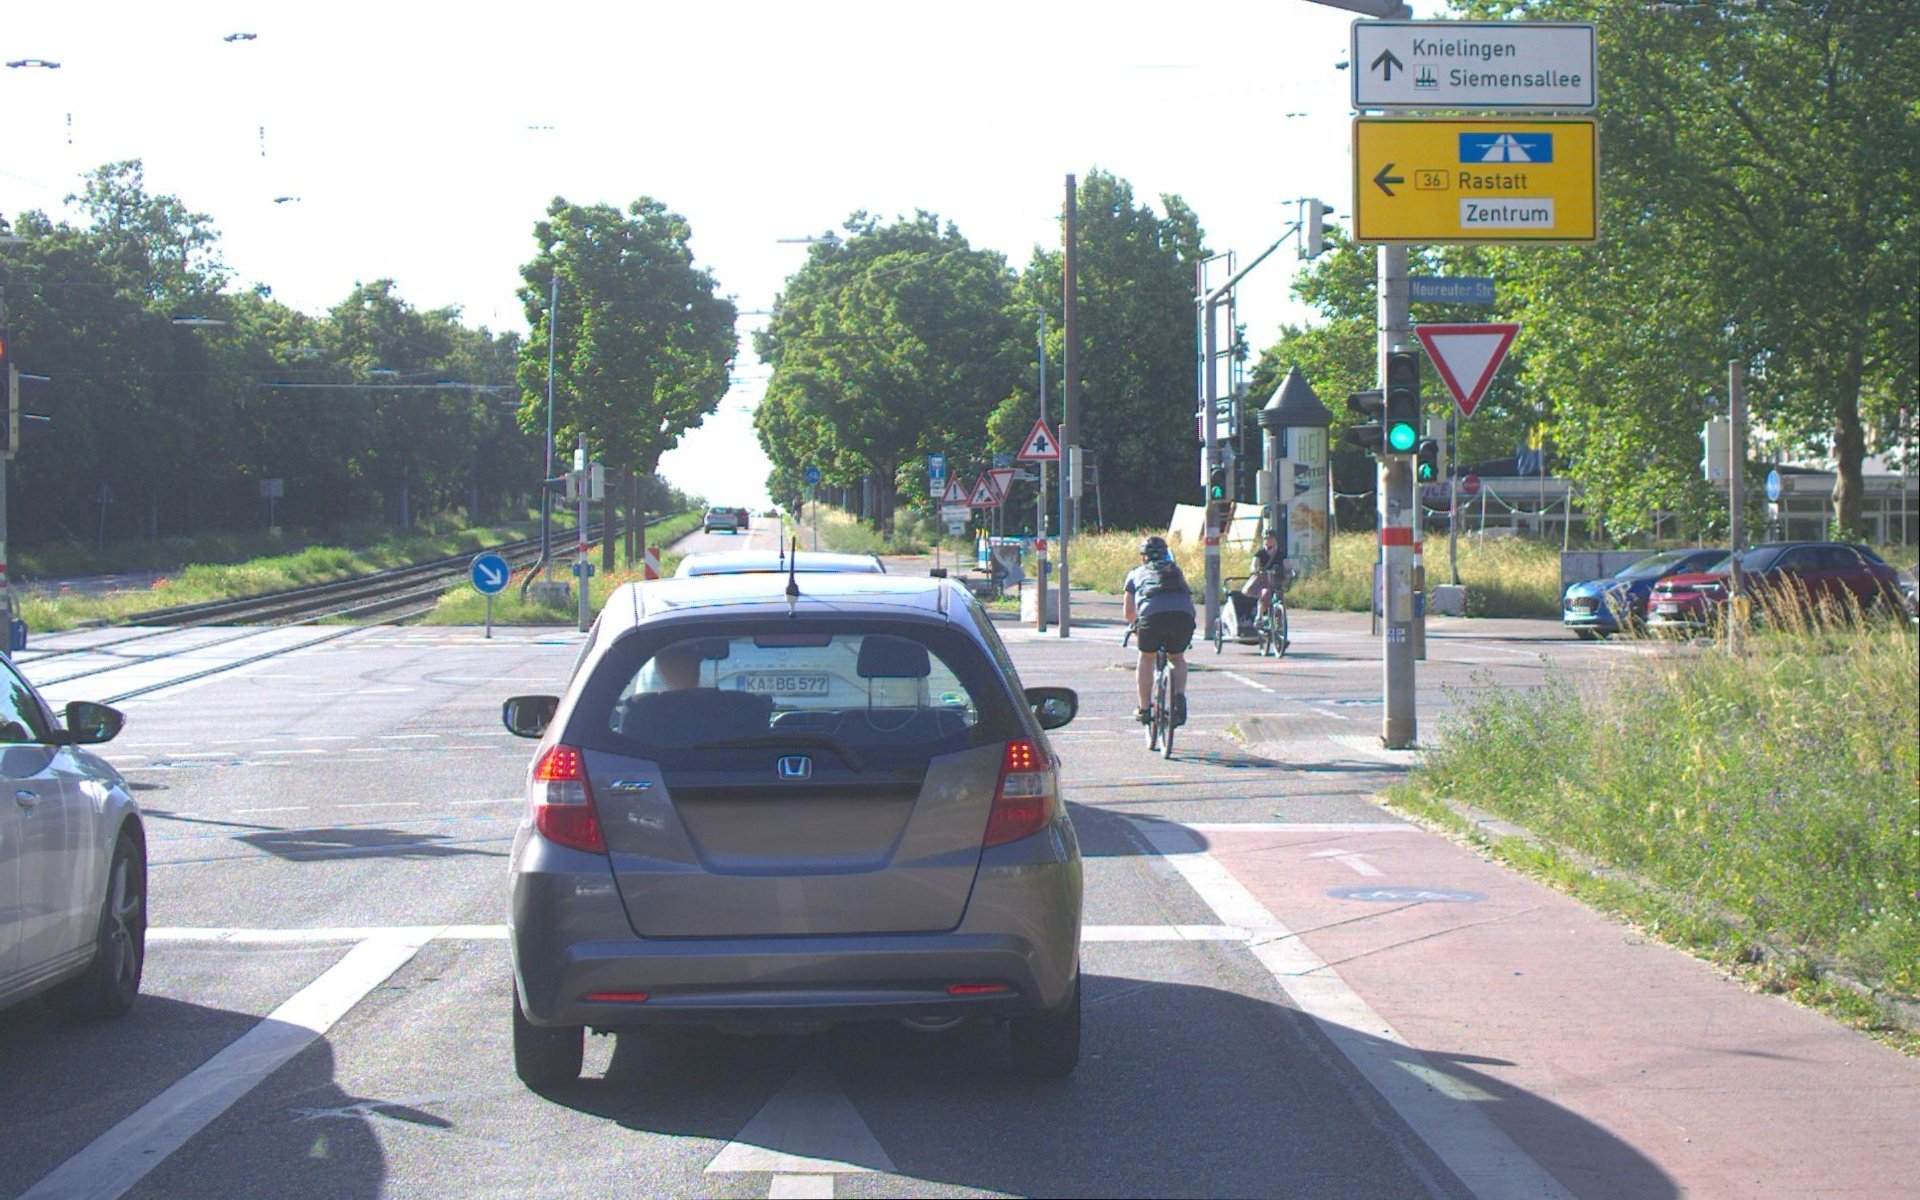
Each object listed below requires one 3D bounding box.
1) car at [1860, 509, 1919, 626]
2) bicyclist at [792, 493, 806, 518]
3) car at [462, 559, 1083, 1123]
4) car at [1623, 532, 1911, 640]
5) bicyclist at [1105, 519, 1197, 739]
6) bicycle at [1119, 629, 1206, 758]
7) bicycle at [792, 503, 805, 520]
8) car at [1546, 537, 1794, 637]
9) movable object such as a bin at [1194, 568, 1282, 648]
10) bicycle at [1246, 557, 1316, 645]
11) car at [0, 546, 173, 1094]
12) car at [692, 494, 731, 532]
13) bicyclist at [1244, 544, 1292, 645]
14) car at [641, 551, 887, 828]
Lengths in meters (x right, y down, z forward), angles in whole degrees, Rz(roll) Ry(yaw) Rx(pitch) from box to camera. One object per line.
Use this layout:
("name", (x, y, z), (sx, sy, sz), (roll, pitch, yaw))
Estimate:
("car", (15.760, -0.508, 51.124), (4.480, 1.705, 1.921), (-1, 1, -29))
("bicyclist", (-10.203, -5.976, 217.646), (0.817, 1.519, 0.966), (1, 0, -2))
("car", (-0.532, 0.632, 11.181), (1.670, 1.510, 3.674), (-1, 1, -1))
("car", (12.444, -0.235, 53.013), (4.076, 1.595, 1.817), (-1, 1, -25))
("bicyclist", (1.478, 0.216, 26.676), (0.615, 1.674, 0.933), (-1, 1, -2))
("bicycle", (1.569, 0.713, 26.883), (0.524, 0.920, 2.089), (-1, 1, -1))
("bicycle", (-10.216, -5.606, 217.628), (0.817, 1.044, 2.506), (1, 0, -2))
("car", (11.815, -0.229, 57.144), (3.847, 1.595, 1.713), (-1, 1, -29))
("movable object such as a bin", (3.820, 0.104, 47.285), (0.908, 1.065, 1.317), (-1, 1, -9))
("bicycle", (4.215, 0.003, 45.246), (0.466, 1.115, 1.821), (0, 1, -10))
("car", (-3.624, 0.617, 9.826), (1.877, 1.522, 4.421), (-1, 1, -2))
("car", (-13.536, -4.739, 187.601), (1.993, 2.007, 4.000), (0, 1, -2))
("bicyclist", (4.117, -0.078, 46.002), (0.509, 1.336, 0.565), (-1, 1, -9))
("car", (-1.150, 0.475, 20.674), (1.351, 1.522, 3.124), (-1, 1, -2))
